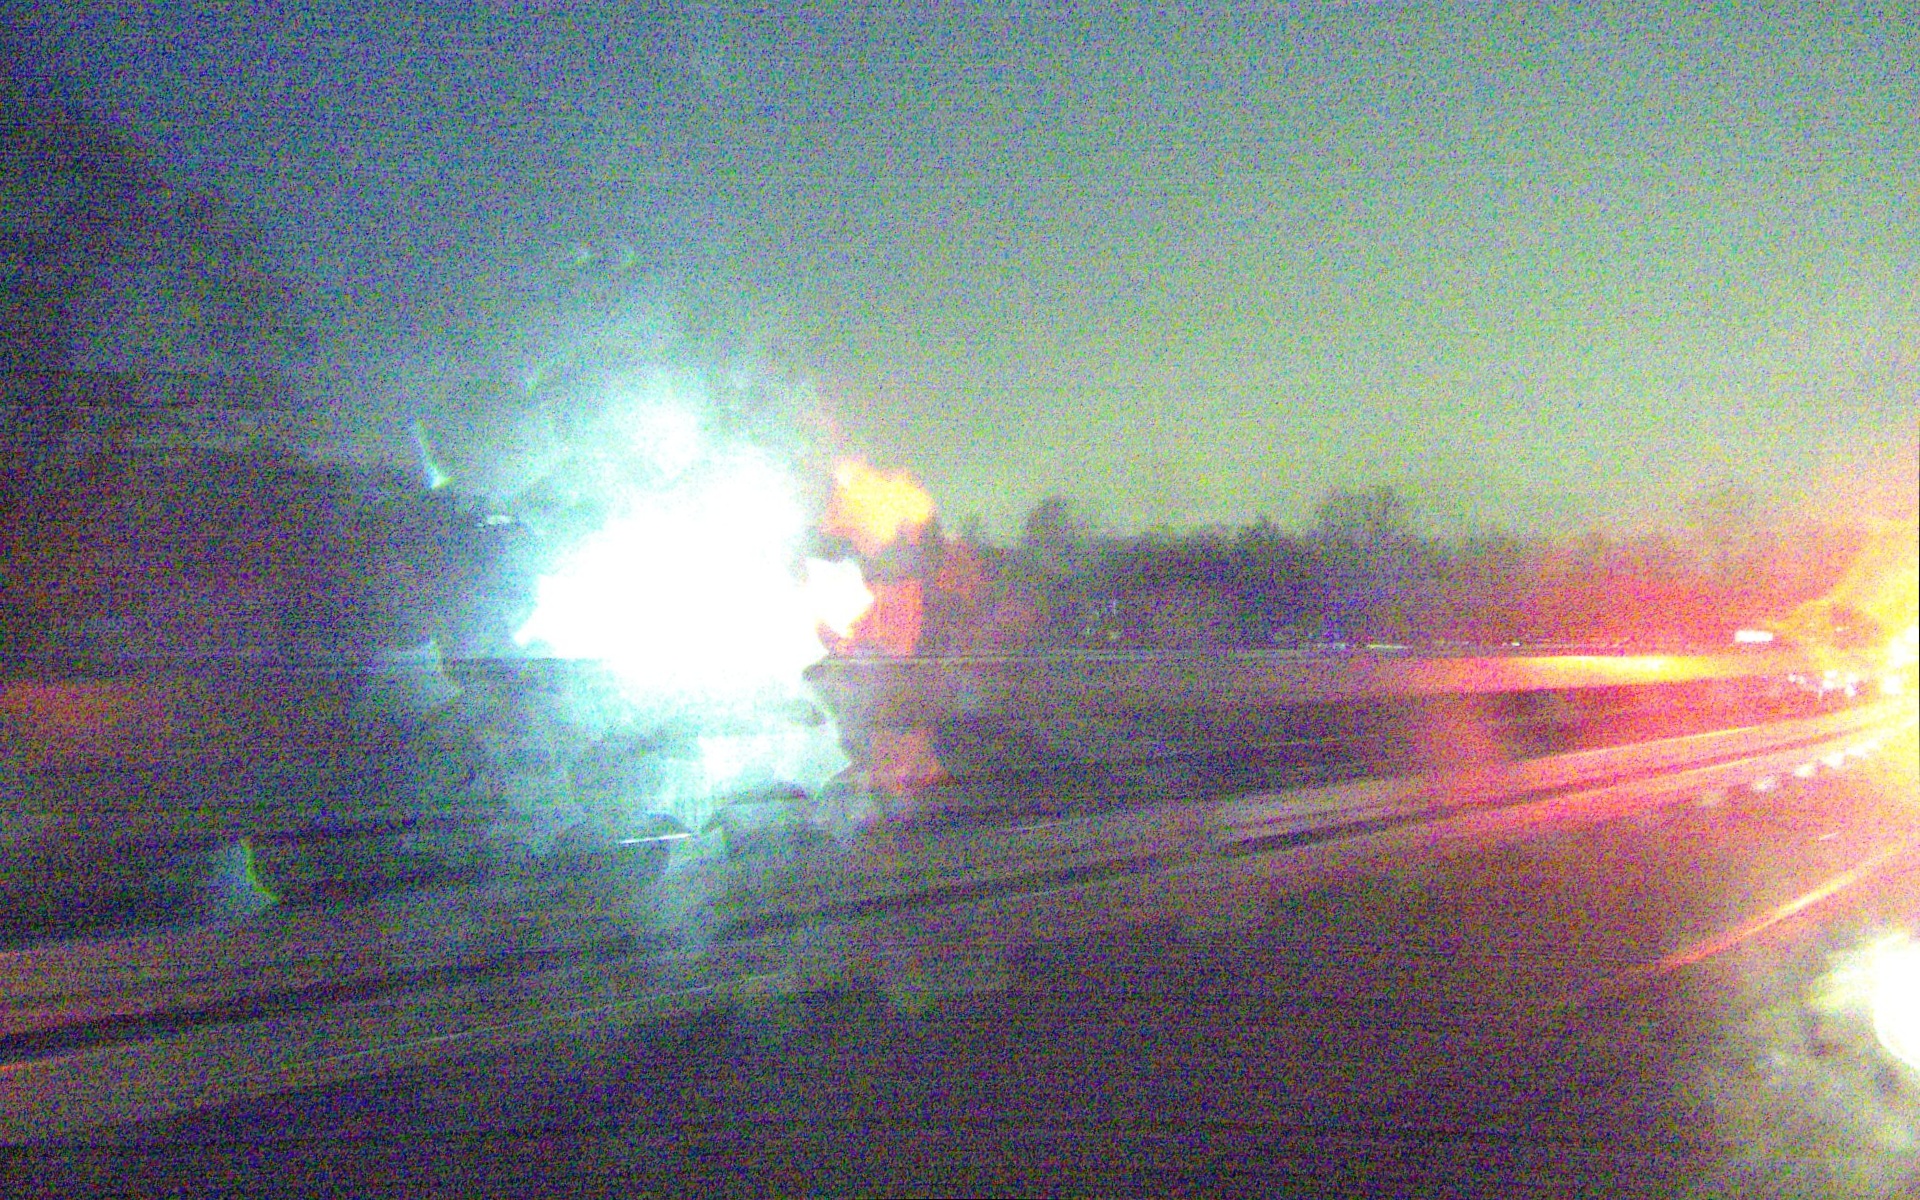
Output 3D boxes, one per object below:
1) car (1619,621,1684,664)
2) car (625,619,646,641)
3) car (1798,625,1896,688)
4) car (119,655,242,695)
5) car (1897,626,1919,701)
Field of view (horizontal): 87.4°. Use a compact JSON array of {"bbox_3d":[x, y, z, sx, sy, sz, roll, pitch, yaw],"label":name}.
[{"bbox_3d":[35.677,2.158,51.927,1.865,2.024,4.044,1,0,22],"label":"car"},{"bbox_3d":[-29.202,2.757,90.534,1.696,1.786,3.816,1,-4,-17],"label":"car"},{"bbox_3d":[32.275,2.001,36.661,1.867,2.067,4.038,2,0,30],"label":"car"},{"bbox_3d":[-37.214,3.553,48.045,1.890,1.775,4.235,0,-3,33],"label":"car"},{"bbox_3d":[24.524,1.568,24.580,1.871,1.743,4.030,2,0,37],"label":"car"}]
